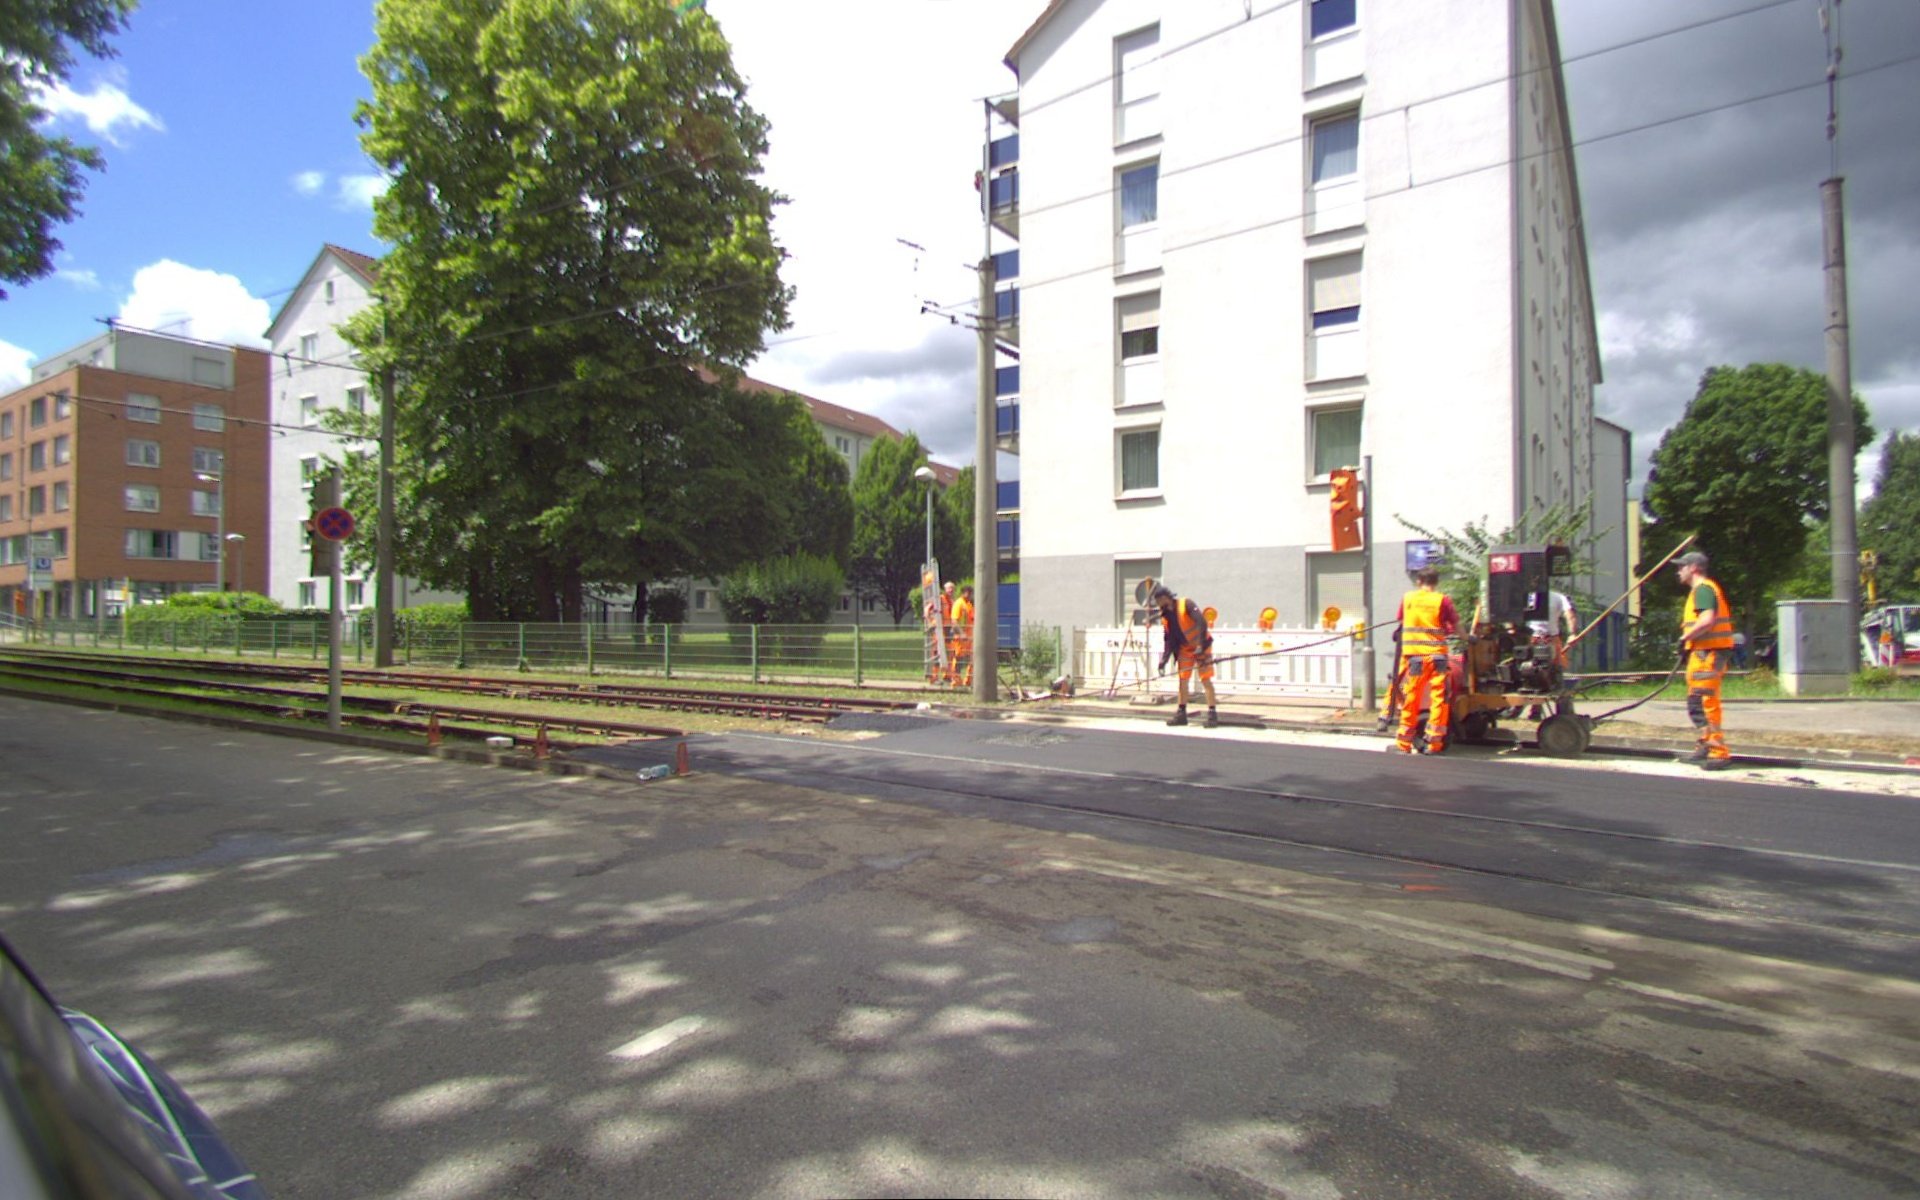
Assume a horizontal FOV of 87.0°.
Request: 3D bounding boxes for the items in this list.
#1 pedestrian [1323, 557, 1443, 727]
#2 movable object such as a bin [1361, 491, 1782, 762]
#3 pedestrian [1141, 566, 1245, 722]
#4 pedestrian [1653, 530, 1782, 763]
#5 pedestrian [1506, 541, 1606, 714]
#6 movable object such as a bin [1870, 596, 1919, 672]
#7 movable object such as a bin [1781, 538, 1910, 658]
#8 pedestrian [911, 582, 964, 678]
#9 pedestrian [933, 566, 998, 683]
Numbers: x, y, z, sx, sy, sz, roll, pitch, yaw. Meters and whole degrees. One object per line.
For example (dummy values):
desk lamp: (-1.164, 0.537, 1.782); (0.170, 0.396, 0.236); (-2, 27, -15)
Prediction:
pedestrian: (4.582, 0.441, 10.966); (0.919, 1.729, 0.847); (-2, -2, 44)
movable object such as a bin: (5.570, 0.240, 9.326); (2.968, 2.029, 1.972); (-1, -2, 43)
pedestrian: (2.712, 0.500, 11.802); (0.918, 1.729, 0.743); (-2, -2, 39)
pedestrian: (6.404, 0.379, 8.601); (0.766, 1.853, 0.775); (-1, -2, 31)
pedestrian: (6.767, 0.308, 11.474); (0.872, 1.838, 1.083); (-1, -2, 35)
movable object such as a bin: (32.102, 1.121, 33.267); (1.987, 2.428, 3.969); (0, -2, 23)
movable object such as a bin: (36.365, 0.026, 41.813); (2.816, 4.570, 6.144); (-1, -2, 31)
pedestrian: (-0.401, 0.542, 18.303); (0.871, 1.696, 0.665); (0, -1, 9)
pedestrian: (0.101, 0.408, 17.059); (0.877, 1.922, 0.660); (-1, -1, 31)
